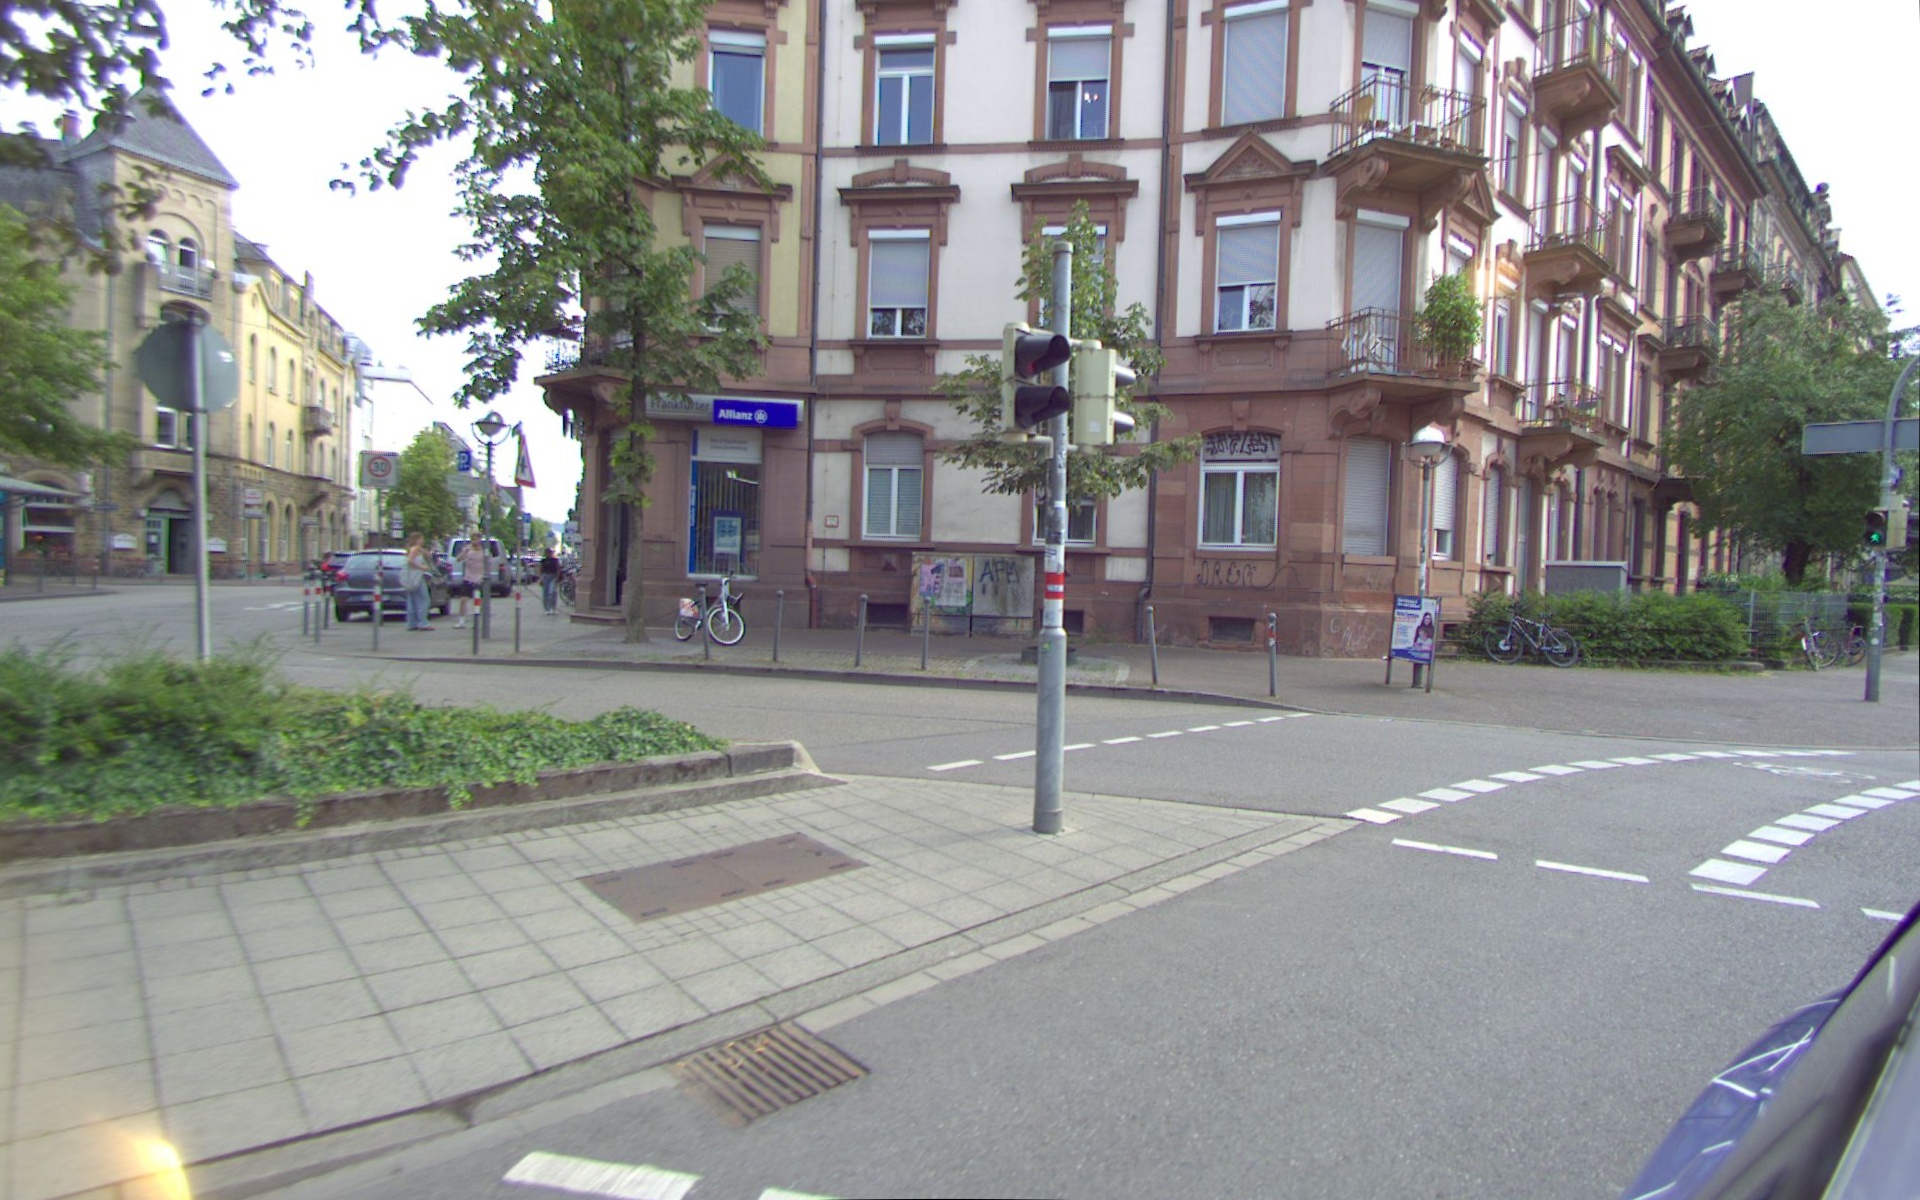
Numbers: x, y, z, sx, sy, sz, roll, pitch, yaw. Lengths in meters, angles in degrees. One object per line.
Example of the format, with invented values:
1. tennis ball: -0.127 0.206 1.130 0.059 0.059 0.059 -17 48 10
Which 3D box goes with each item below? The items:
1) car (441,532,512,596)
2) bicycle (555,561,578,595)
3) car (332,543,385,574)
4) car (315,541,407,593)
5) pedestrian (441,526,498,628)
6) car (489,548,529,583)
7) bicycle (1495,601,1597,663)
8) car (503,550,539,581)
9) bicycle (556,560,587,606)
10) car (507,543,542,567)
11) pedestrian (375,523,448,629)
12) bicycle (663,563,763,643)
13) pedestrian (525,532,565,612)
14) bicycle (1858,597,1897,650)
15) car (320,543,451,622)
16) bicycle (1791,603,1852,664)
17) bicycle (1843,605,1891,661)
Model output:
1. car: -16.487 -1.258 34.645 1.829 2.005 4.010 1 2 -21
2. bicycle: -14.437 -0.819 37.100 0.659 1.134 1.944 2 2 -24
3. car: -32.465 -2.232 54.743 1.958 1.538 4.009 1 2 -23
4. car: -19.330 -1.086 32.823 1.780 1.542 4.010 1 2 -19
5. pedestrian: -8.760 -0.431 18.102 0.741 1.750 0.896 2 3 -19
6. car: -24.733 -1.917 55.569 1.780 1.771 4.010 1 2 -21
7. bicycle: 10.203 0.555 17.641 1.518 0.981 0.511 2 2 -9
8. car: -26.522 -2.120 61.163 1.780 1.771 4.010 1 2 -21
9. bicycle: -10.354 -0.481 26.916 0.659 1.134 1.944 2 2 -24
10. car: -30.505 -3.161 70.994 1.958 1.537 4.010 2 2 -19
11. pedestrian: -9.460 -0.417 17.481 0.875 1.750 0.734 3 2 -10
12. bicycle: -3.954 0.033 16.120 1.665 1.158 0.663 4 2 40
13. pedestrian: -9.397 -0.651 22.959 0.717 1.750 0.896 2 3 -19
14. bicycle: 23.719 0.594 26.155 1.522 1.297 0.517 1 2 -41
15. car: -11.965 -0.414 21.328 1.780 1.459 4.010 1 2 -21
16. bicycle: 17.159 0.648 20.147 1.643 1.120 0.672 1 2 -43
17. bicycle: 19.404 0.693 21.645 1.523 1.101 0.510 1 5 -43
